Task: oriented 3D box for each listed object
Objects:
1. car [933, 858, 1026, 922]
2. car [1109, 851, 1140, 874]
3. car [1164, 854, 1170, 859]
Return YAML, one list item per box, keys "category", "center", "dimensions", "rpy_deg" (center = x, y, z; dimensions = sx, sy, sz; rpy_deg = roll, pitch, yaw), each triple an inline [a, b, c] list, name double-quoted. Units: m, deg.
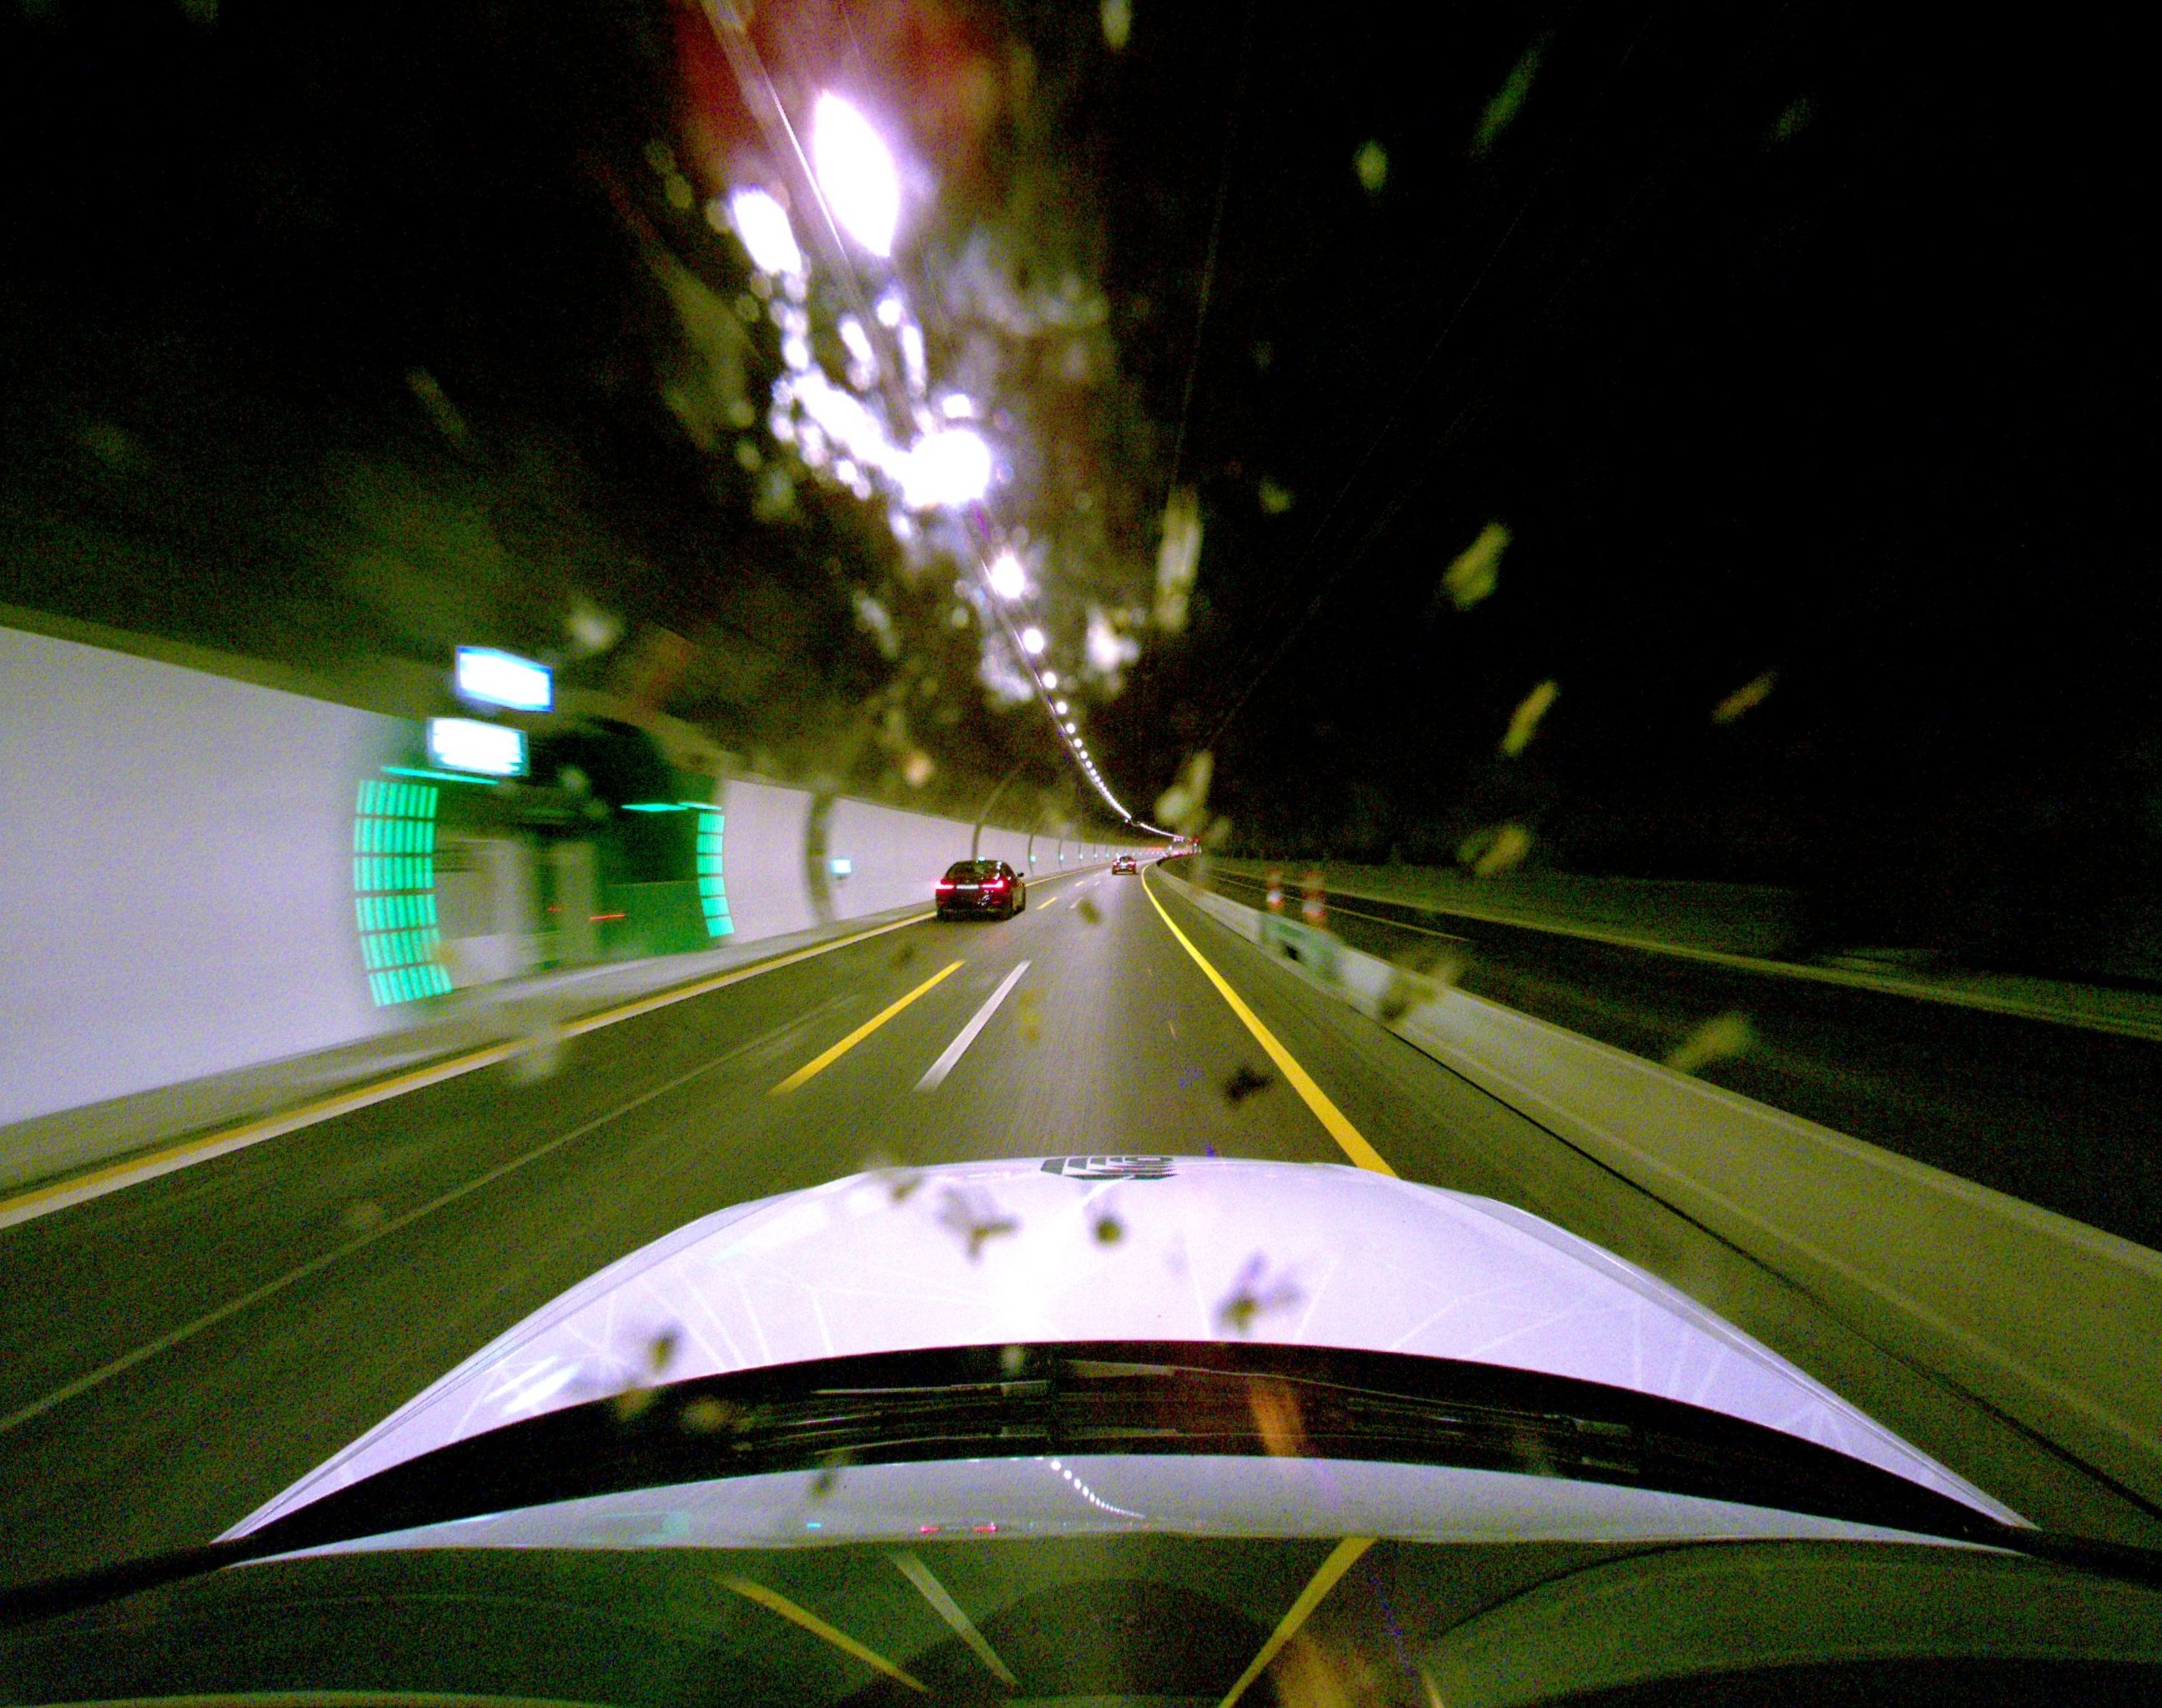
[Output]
- category: "car"
  center: [-2.542, 0.853, 21.493]
  dimensions: [1.772, 1.438, 4.882]
  rpy_deg: [-1, 0, 0]
- category: "car"
  center: [3.505, 0.662, 64.353]
  dimensions: [2.129, 1.706, 4.008]
  rpy_deg: [-1, 0, 7]
- category: "car"
  center: [23.654, 0.794, 224.002]
  dimensions: [1.587, 1.333, 3.756]
  rpy_deg: [-1, 0, 5]
